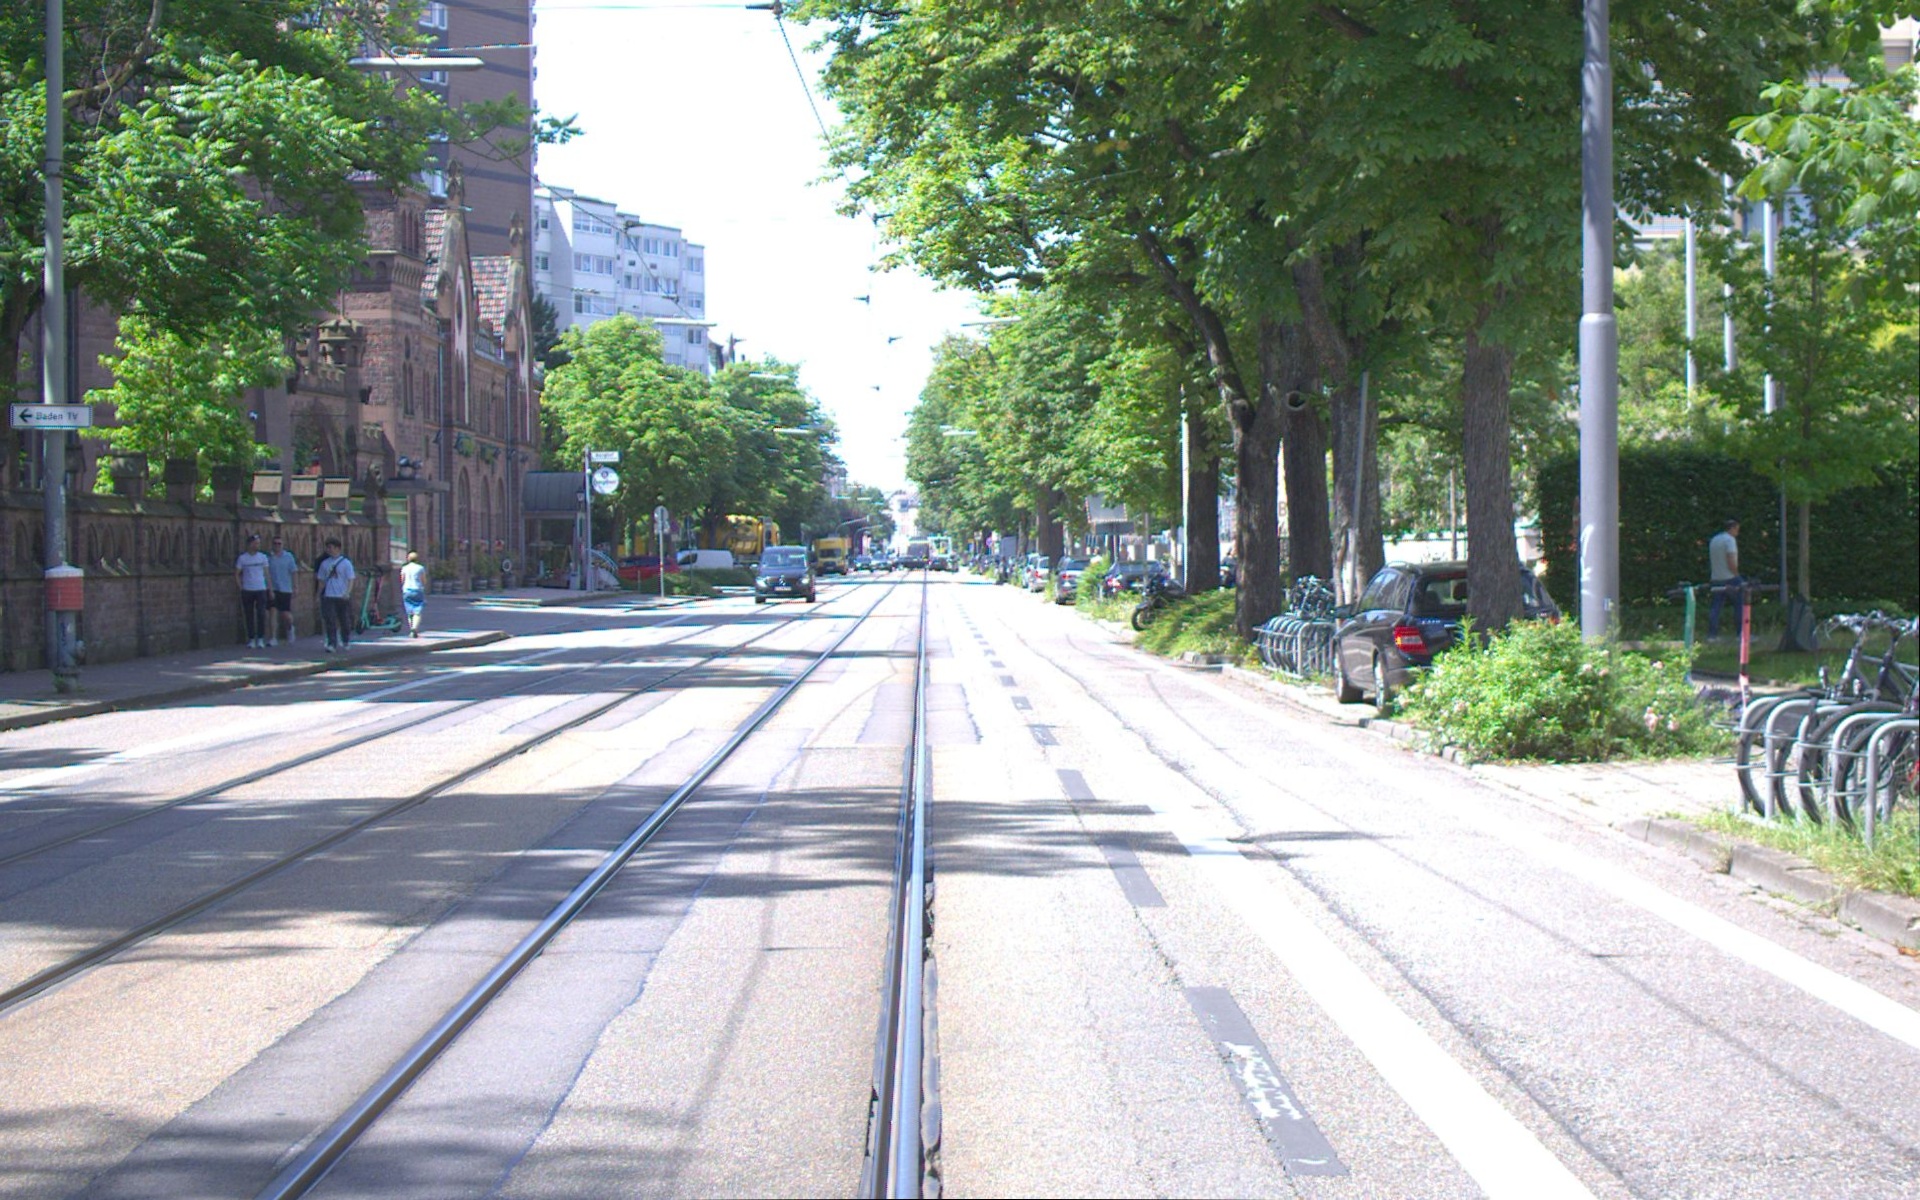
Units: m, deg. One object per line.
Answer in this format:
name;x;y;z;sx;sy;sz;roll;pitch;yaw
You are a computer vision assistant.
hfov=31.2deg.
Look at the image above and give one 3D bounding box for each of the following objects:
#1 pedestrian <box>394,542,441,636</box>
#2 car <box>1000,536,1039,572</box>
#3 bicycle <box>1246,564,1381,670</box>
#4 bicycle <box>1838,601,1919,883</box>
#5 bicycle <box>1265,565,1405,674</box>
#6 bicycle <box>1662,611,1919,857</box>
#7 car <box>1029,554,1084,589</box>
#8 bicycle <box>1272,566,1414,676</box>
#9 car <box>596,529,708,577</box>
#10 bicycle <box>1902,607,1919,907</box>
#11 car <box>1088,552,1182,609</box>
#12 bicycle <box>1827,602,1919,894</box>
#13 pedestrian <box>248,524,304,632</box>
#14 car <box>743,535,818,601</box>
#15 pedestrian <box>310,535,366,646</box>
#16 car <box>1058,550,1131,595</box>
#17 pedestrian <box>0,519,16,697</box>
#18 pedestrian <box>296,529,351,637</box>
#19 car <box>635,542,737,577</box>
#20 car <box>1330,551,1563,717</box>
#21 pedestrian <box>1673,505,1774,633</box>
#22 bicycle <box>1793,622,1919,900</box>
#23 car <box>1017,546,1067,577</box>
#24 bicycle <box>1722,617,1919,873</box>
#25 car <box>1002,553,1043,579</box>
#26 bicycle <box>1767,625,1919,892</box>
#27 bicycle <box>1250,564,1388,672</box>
pedestrian;-9.964;-0.213;63.202;0.743;1.722;0.867;0;1;-1
car;3.235;-2.527;188.122;1.993;1.897;4.000;0;1;-1
bicycle;4.195;0.199;40.833;1.564;1.237;0.437;0;1;1
bicycle;4.675;0.591;14.596;1.752;1.161;0.530;0;1;-3
bicycle;4.327;0.222;39.721;1.564;1.237;0.437;0;1;1
bicycle;4.891;0.667;17.465;2.511;1.205;0.741;0;1;4
car;3.768;-1.128;134.670;1.993;1.305;4.000;0;1;-1
bicycle;4.362;0.238;39.218;1.564;1.237;0.437;0;1;1
car;-12.495;-1.915;139.527;3.987;1.798;2.000;1;1;-32
bicycle;4.610;0.614;13.346;1.752;1.161;0.530;0;1;-3
car;4.177;-0.482;82.524;1.993;1.305;4.000;0;1;-1
bicycle;4.500;0.596;14.093;1.752;1.161;0.530;0;1;-3
pedestrian;-11.045;-0.357;55.529;0.743;1.722;0.867;0;1;-1
car;-5.590;-1.019;107.655;1.993;2.007;4.000;0;1;2
pedestrian;-9.774;-0.151;54.047;0.743;1.722;0.867;0;1;-1
car;4.055;-0.839;104.179;1.993;1.305;4.000;0;1;-1
pedestrian;-9.947;0.080;34.281;0.814;1.764;0.924;0;1;-1
pedestrian;-10.280;-0.275;55.516;0.743;1.722;0.867;0;1;-1
car;-13.768;-2.061;172.878;4.728;1.711;2.000;-1;1;-28
car;4.649;0.283;33.318;1.634;1.496;4.000;0;1;-1
pedestrian;10.963;-0.451;49.378;1.215;1.821;0.831;0;1;-4
bicycle;5.052;0.705;15.344;2.511;1.205;0.648;0;1;4
car;3.507;-1.674;147.685;1.993;1.305;4.000;0;1;-1
bicycle;5.017;0.690;16.667;2.511;1.205;0.622;0;1;4
car;3.215;-1.787;178.423;1.993;1.305;4.000;0;1;-1
bicycle;4.835;0.724;16.030;1.997;1.205;0.662;0;1;4
bicycle;4.204;0.209;40.304;1.564;1.237;0.437;0;1;1
